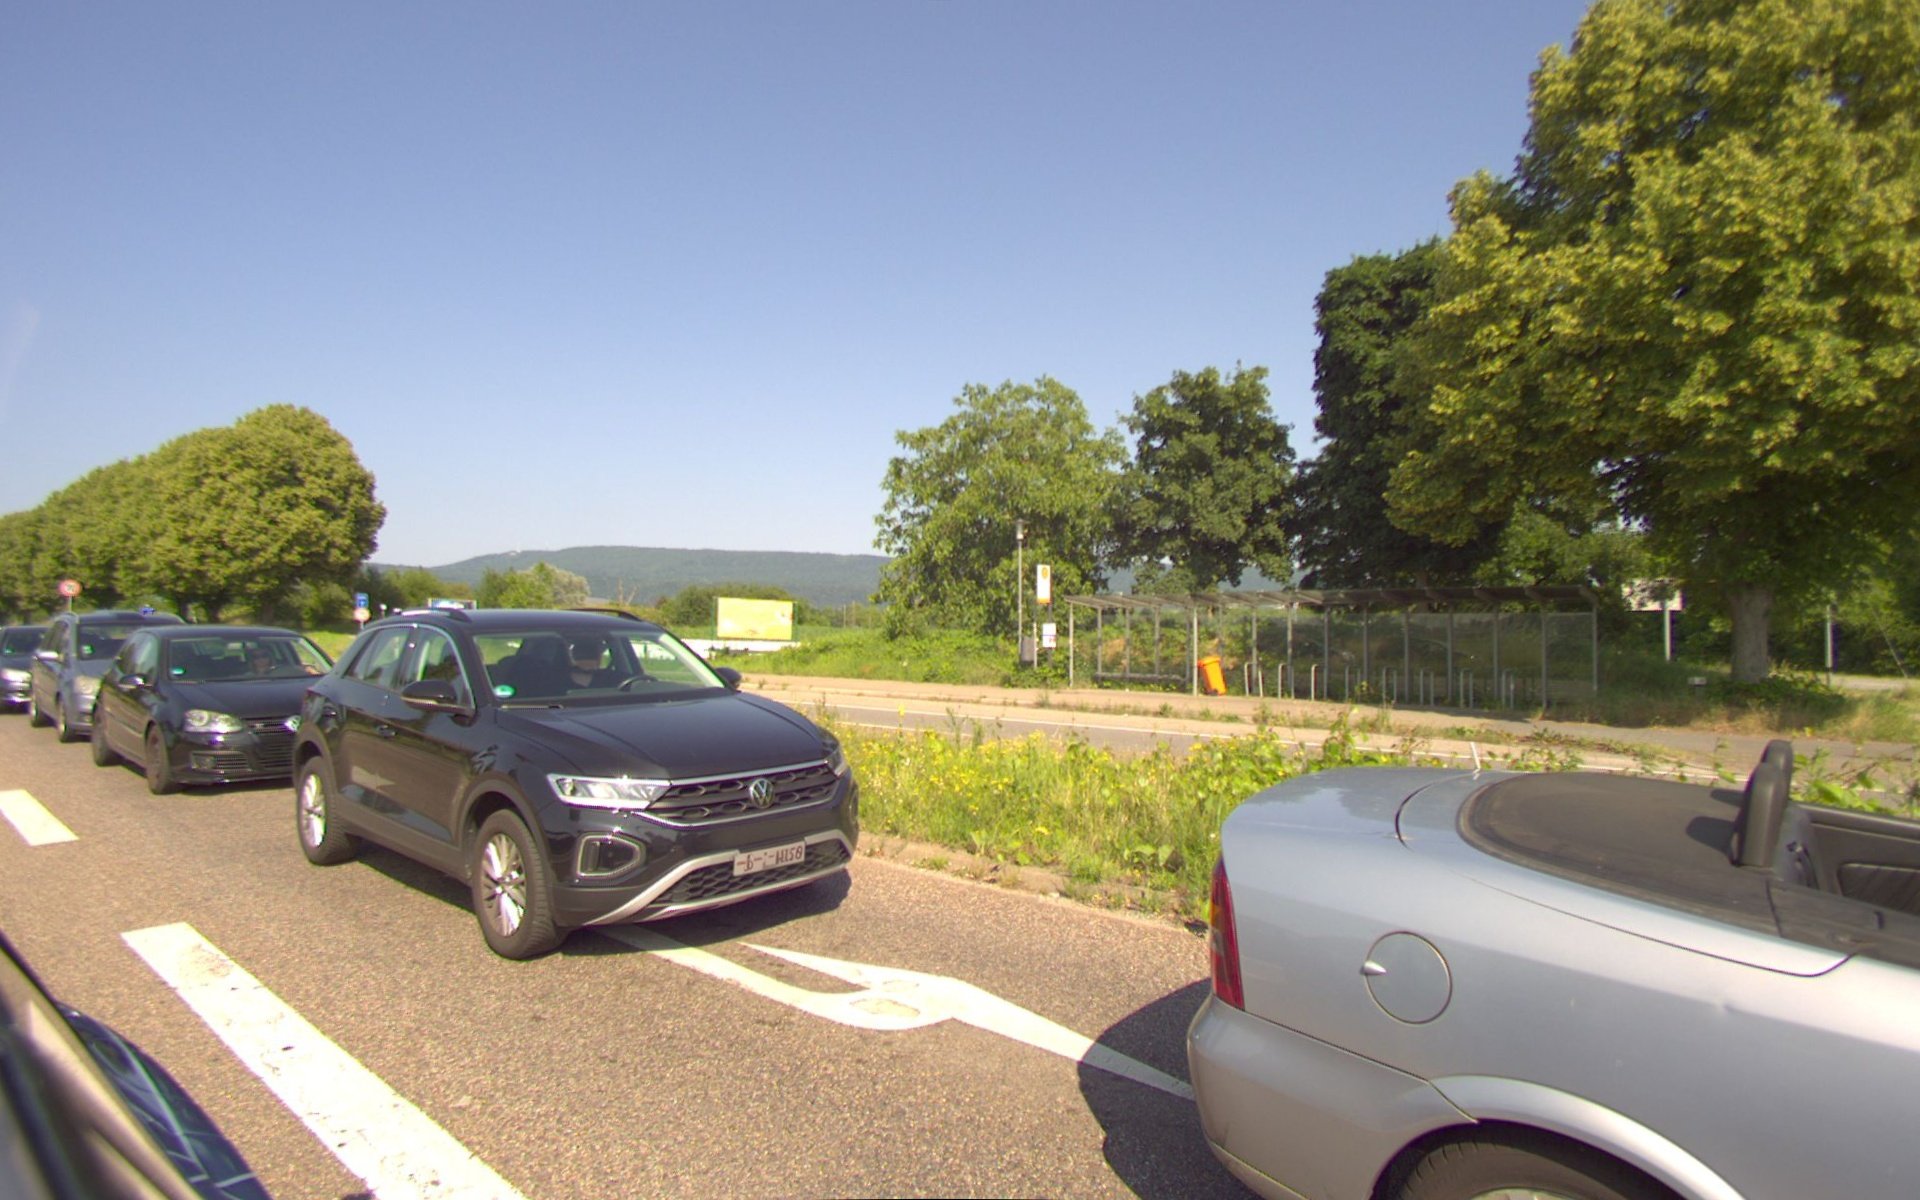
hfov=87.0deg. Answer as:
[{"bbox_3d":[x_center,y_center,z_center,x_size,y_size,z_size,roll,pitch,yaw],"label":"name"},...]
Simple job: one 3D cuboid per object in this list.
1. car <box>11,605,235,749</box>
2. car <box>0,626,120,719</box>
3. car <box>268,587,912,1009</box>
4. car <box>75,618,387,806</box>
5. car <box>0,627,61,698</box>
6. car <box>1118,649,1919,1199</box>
[{"bbox_3d":[-11.605,0.949,13.928,4.355,1.685,1.723,-2,-2,42],"label":"car"},{"bbox_3d":[-16.202,1.192,17.695,4.353,1.421,1.696,-2,-1,42],"label":"car"},{"bbox_3d":[-2.331,0.788,5.764,4.096,1.559,1.710,-2,-2,42],"label":"car"},{"bbox_3d":[-7.328,0.946,10.017,4.096,1.486,1.648,-2,-2,42],"label":"car"},{"bbox_3d":[-21.385,1.319,22.290,4.639,1.436,1.784,-1,-1,41],"label":"car"},{"bbox_3d":[2.407,0.774,1.406,4.096,1.345,1.656,-1,-3,42],"label":"car"}]
